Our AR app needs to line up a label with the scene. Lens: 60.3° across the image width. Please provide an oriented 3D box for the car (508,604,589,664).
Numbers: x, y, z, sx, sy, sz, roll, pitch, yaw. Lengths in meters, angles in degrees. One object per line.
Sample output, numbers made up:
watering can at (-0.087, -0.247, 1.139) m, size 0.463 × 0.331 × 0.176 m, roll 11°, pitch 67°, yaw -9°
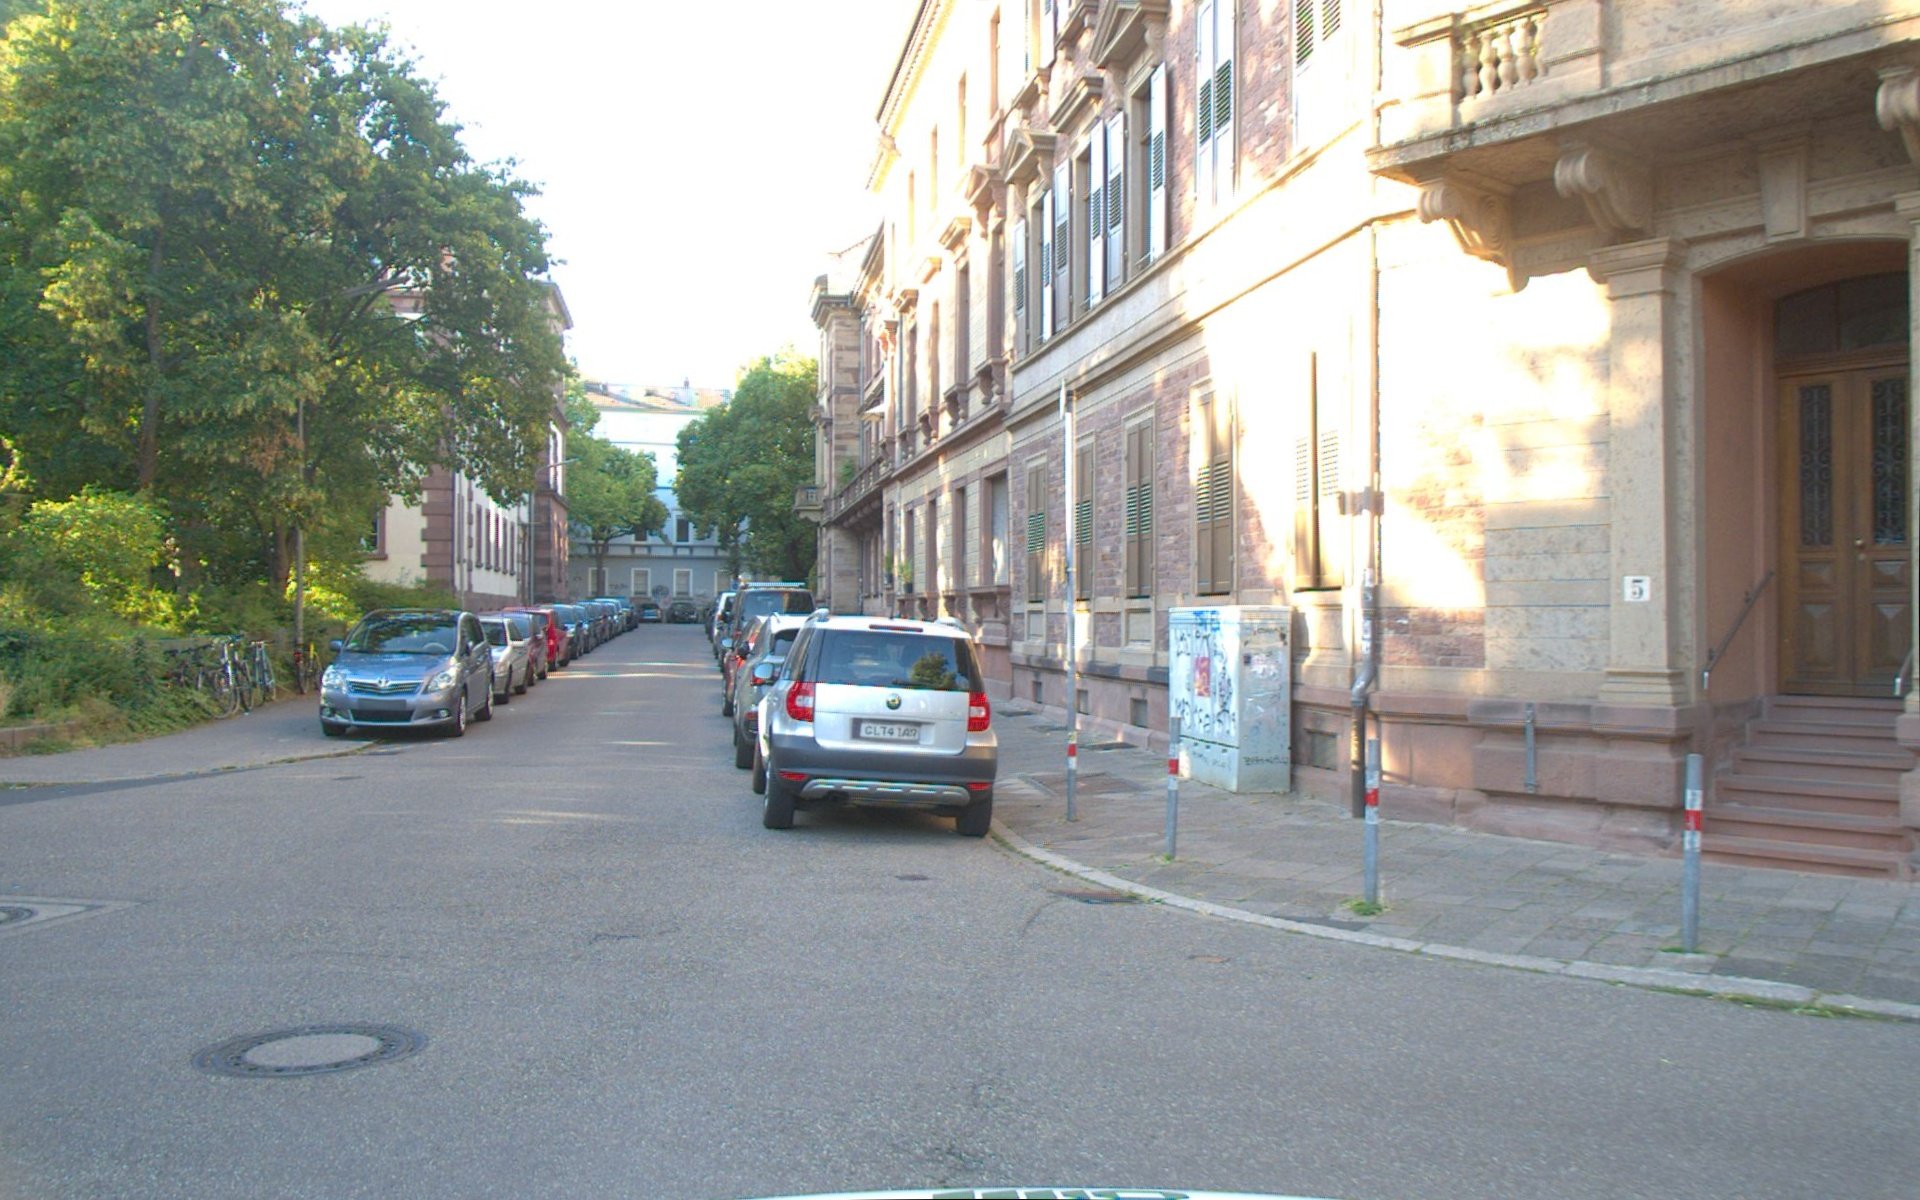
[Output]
car at (-11.686, 0.947, 47.196) m, size 1.792 × 1.526 × 3.923 m, roll 3°, pitch -1°, yaw -9°

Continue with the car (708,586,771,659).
car at (-6.927, 0.699, 51.771) m, size 1.765 × 2.109 × 3.946 m, roll 3°, pitch -1°, yaw -9°

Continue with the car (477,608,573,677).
car at (-10.731, 1.014, 41.020) m, size 1.792 × 1.526 × 3.923 m, roll 3°, pitch -1°, yaw -9°

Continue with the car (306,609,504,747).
car at (-7.556, 1.000, 22.917) m, size 1.792 × 1.643 × 4.282 m, roll 3°, pitch -1°, yaw -9°

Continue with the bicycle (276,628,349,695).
bicycle at (-11.479, 1.068, 29.384) m, size 0.585 × 1.121 × 2.623 m, roll 0°, pitch 0°, yaw -7°

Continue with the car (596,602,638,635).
car at (-17.253, 0.942, 83.255) m, size 1.792 × 1.526 × 3.923 m, roll 3°, pitch -1°, yaw -9°

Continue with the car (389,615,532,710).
car at (-8.767, 1.051, 29.326) m, size 1.792 × 1.472 × 3.923 m, roll 3°, pitch -1°, yaw -9°

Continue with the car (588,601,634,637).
car at (-16.477, 0.886, 78.224) m, size 1.792 × 1.526 × 3.923 m, roll 3°, pitch -1°, yaw -9°

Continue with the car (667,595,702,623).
car at (-18.665, 0.640, 112.031) m, size 1.960 × 1.714 × 3.984 m, roll 1°, pitch -2°, yaw -15°

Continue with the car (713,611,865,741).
car at (-2.555, 1.033, 23.977) m, size 1.766 × 1.642 × 3.944 m, roll 3°, pitch -1°, yaw -11°

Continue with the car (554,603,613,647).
car at (-14.230, 0.921, 62.716) m, size 1.792 × 1.526 × 3.923 m, roll 3°, pitch -1°, yaw -9°

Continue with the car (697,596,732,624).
car at (-16.757, 0.702, 112.849) m, size 1.960 × 1.714 × 3.984 m, roll 1°, pitch -2°, yaw -15°

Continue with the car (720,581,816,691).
car at (-4.104, 0.731, 34.994) m, size 1.765 × 2.109 × 3.946 m, roll 3°, pitch -1°, yaw -9°

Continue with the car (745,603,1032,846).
car at (-0.771, 0.945, 14.121) m, size 1.881 × 1.686 × 4.177 m, roll 3°, pitch -1°, yaw -10°

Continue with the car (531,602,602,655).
car at (-12.511, 0.879, 52.746) m, size 1.792 × 1.526 × 3.923 m, roll 3°, pitch -1°, yaw -9°

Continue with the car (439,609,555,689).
car at (-9.676, 0.984, 34.809) m, size 1.792 × 1.504 × 3.923 m, roll 3°, pitch -1°, yaw -9°

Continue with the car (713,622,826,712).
car at (-3.439, 1.138, 29.292) m, size 1.765 × 1.369 × 3.946 m, roll 3°, pitch -1°, yaw -9°

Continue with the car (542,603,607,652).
car at (-13.262, 0.931, 57.107) m, size 1.792 × 1.526 × 3.923 m, roll 3°, pitch -1°, yaw -9°

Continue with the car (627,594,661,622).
car at (-21.218, 0.566, 111.124) m, size 1.960 × 1.714 × 3.984 m, roll 1°, pitch -2°, yaw -15°

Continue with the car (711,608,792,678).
car at (-5.153, 1.010, 40.552) m, size 1.765 × 1.550 × 3.946 m, roll 3°, pitch -1°, yaw -9°

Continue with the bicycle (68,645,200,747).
bicycle at (-10.072, 1.136, 20.275) m, size 0.585 × 1.121 × 2.623 m, roll 0°, pitch 0°, yaw -7°

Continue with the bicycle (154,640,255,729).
bicycle at (-10.444, 1.137, 22.963) m, size 0.586 × 1.121 × 2.621 m, roll 0°, pitch 0°, yaw -9°

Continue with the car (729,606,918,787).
car at (-1.700, 1.005, 19.123) m, size 1.792 × 1.753 × 4.534 m, roll 3°, pitch -1°, yaw -9°
